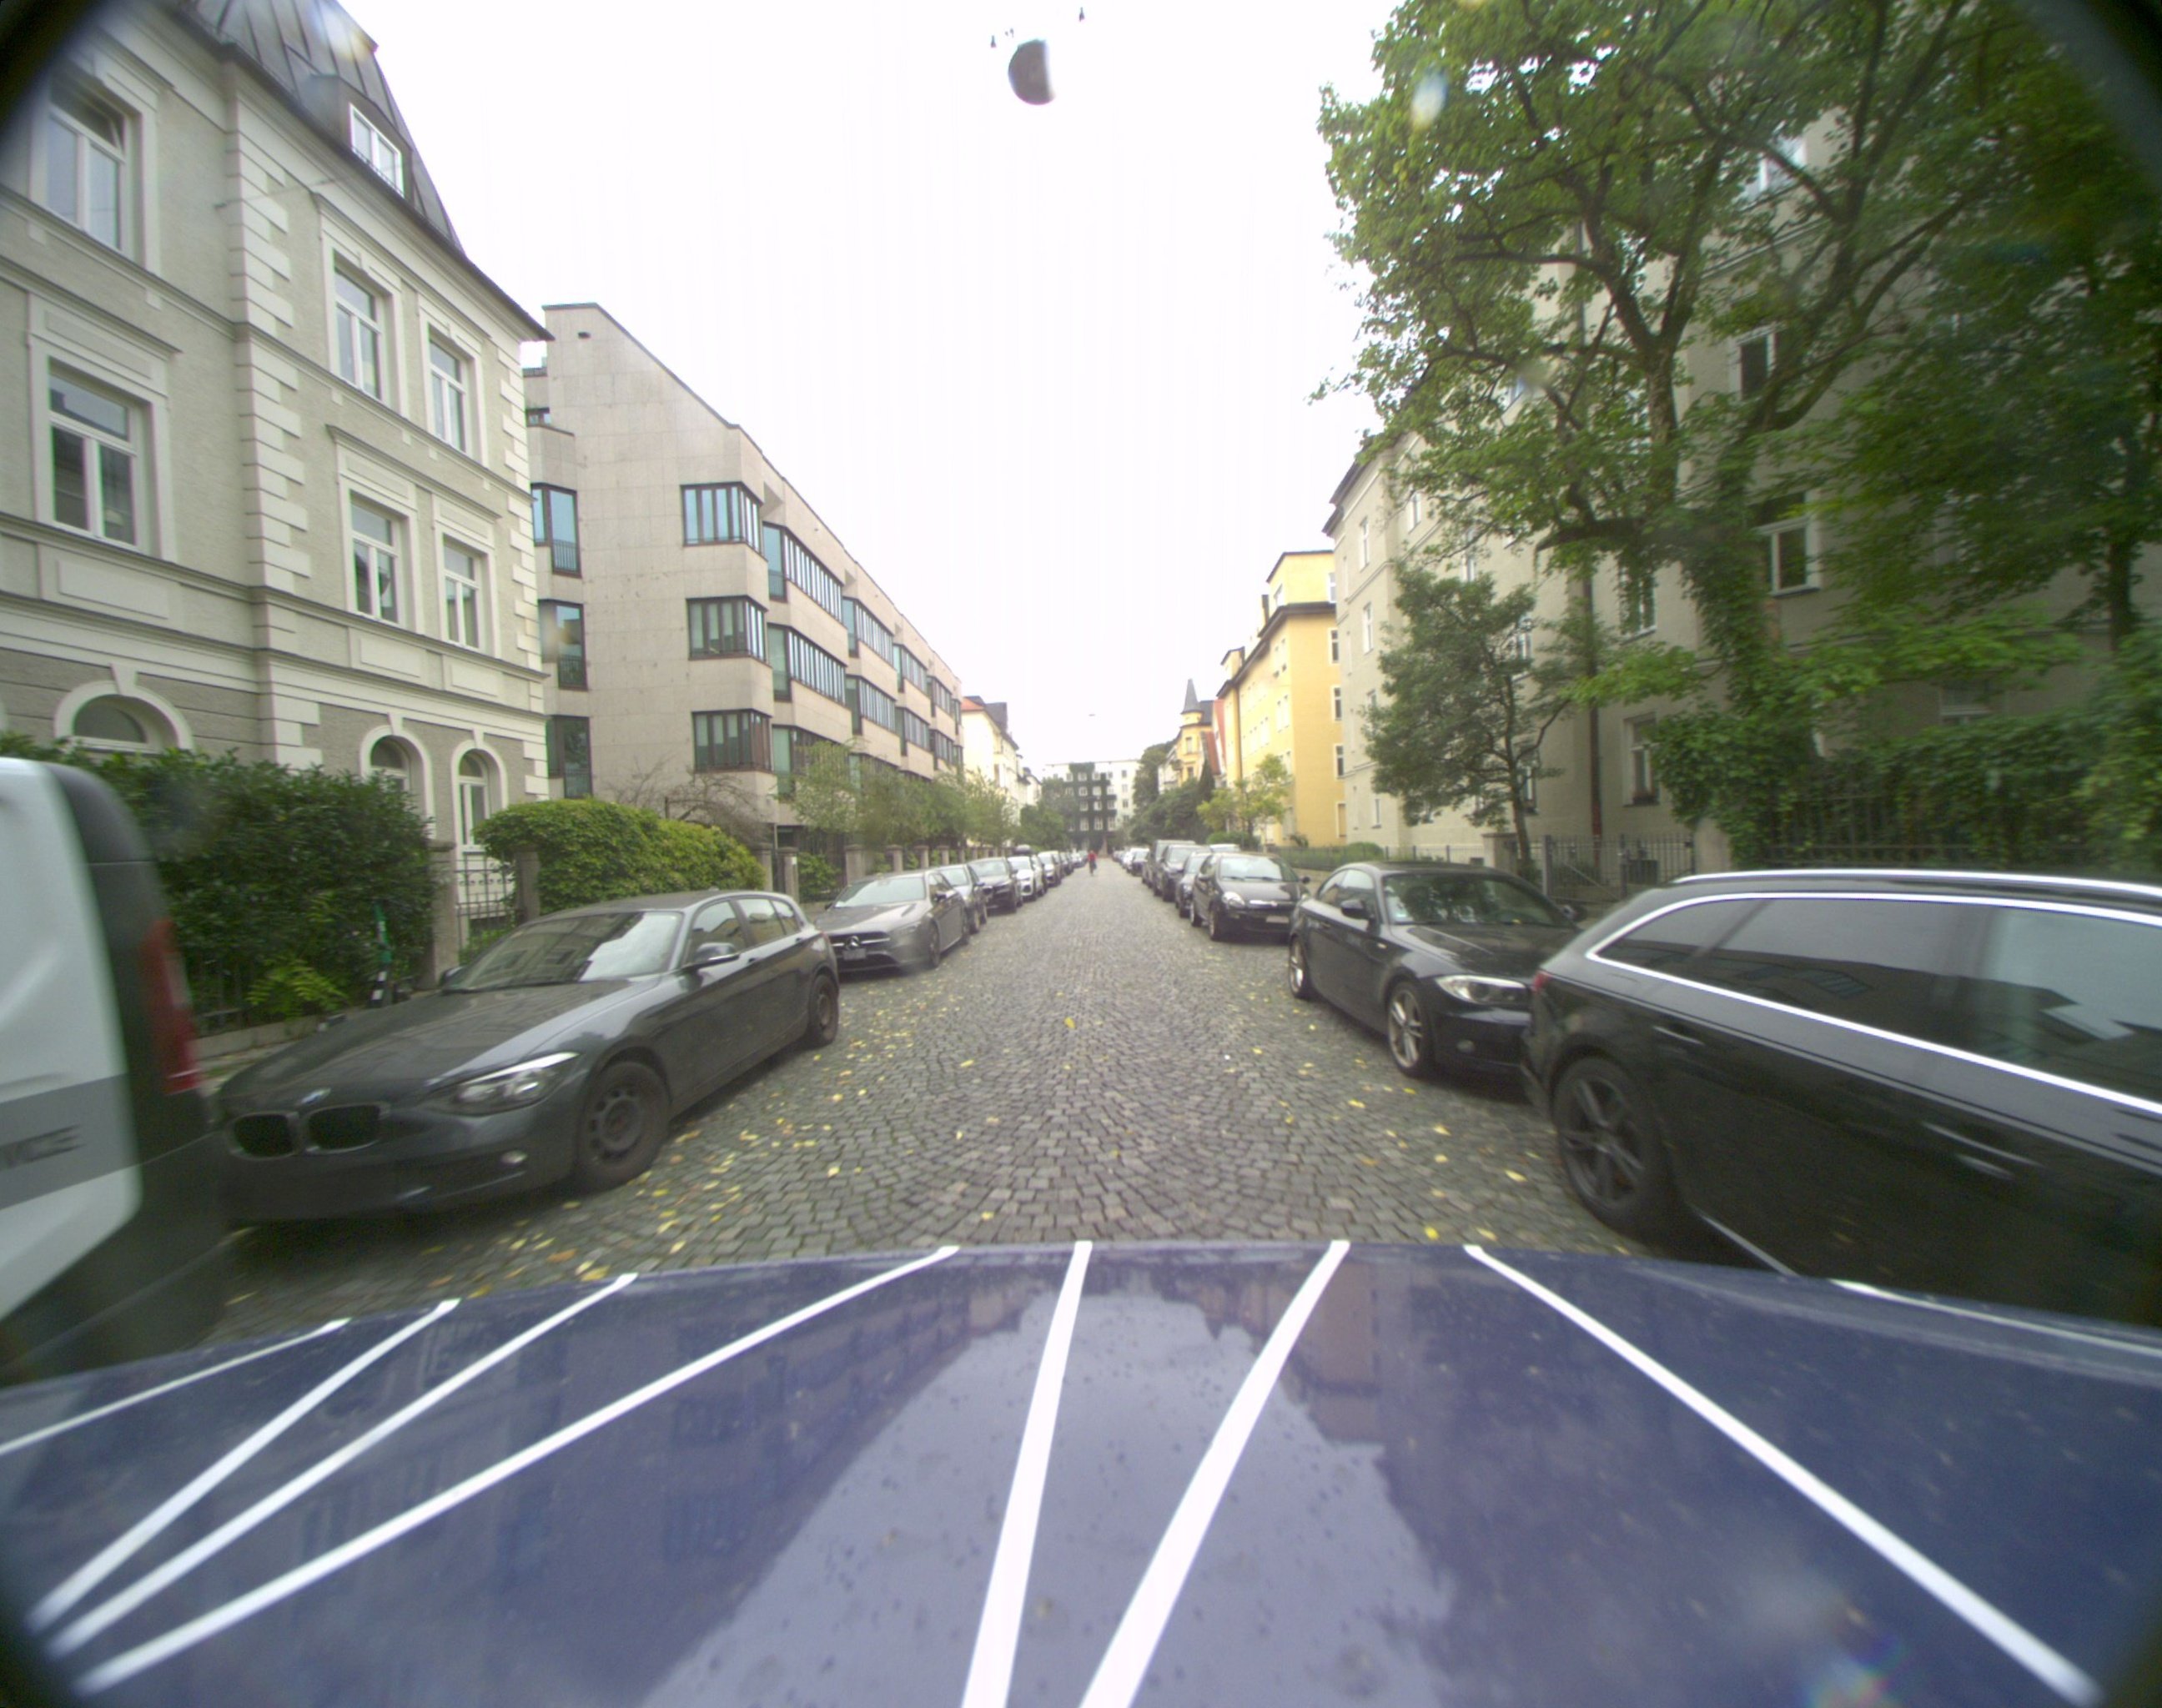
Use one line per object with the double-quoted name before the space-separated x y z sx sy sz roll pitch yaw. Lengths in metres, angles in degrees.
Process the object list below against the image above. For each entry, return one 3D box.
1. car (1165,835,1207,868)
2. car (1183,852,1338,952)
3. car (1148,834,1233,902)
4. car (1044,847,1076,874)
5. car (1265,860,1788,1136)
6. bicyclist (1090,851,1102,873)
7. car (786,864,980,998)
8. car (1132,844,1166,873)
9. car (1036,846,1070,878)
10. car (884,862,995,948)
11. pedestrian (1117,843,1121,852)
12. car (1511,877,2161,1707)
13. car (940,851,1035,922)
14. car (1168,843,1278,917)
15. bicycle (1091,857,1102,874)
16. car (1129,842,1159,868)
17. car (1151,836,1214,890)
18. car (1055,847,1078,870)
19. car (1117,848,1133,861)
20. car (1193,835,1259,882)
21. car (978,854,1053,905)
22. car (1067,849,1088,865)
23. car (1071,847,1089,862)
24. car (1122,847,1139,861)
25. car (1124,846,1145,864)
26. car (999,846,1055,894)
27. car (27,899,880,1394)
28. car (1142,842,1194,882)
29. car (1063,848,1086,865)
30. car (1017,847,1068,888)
"car" 6.805 -0.163 49.778 1.999 1.920 5.330 -4 1 1
"car" 2.988 0.714 13.537 1.666 1.436 4.170 -2 1 -1
"car" 3.303 0.372 23.911 1.998 1.906 5.177 0 1 1
"car" -1.434 0.427 54.567 1.865 1.692 4.813 -6 1 2
"car" 2.956 0.803 6.374 1.787 1.409 4.496 0 1 1
"bicyclist" 0.983 0.504 49.317 0.648 1.351 0.656 -4 1 1
"car" -2.829 1.023 11.892 1.717 1.464 4.268 -6 1 1
"car" 4.286 0.249 48.628 1.921 1.725 4.755 1 1 3
"car" -1.765 0.463 49.133 1.793 1.786 4.509 -7 1 1
"car" -2.936 0.995 16.591 1.698 1.432 4.060 -6 1 -2
"pedestrian" 8.349 -1.529 168.273 0.701 1.905 0.863 -5 2 5
"car" 2.834 0.836 1.265 1.891 1.409 4.407 0 1 3
"car" -2.580 0.836 22.191 1.877 1.660 4.657 -5 1 2
"car" 3.306 0.532 18.690 1.983 1.552 5.017 -1 1 3
"bicycle" 1.020 0.713 49.468 0.636 1.021 1.955 -4 1 1
"car" 4.532 0.030 55.185 2.011 1.798 5.174 -1 1 3
"car" 3.813 0.286 29.281 1.878 1.906 4.827 -1 1 1
"car" -1.163 0.351 63.135 1.622 1.741 3.887 -6 1 1
"car" 5.868 0.049 102.077 1.744 1.577 4.191 -2 1 -1
"car" 6.227 0.150 33.218 1.949 1.725 4.657 -6 1 1
"car" -2.230 0.829 27.161 1.877 1.481 4.617 -5 0 4
"car" -0.330 0.280 84.213 1.998 1.543 4.986 -5 1 3
"car" -0.118 0.048 89.357 1.898 1.644 4.294 -4 1 2
"car" 5.427 -0.043 84.273 1.819 1.447 4.913 0 1 3
"car" 4.782 0.038 68.556 1.718 1.553 4.390 -1 1 2
"car" -2.193 0.608 32.293 1.878 1.725 4.747 -6 1 0
"car" -3.045 1.289 5.166 1.841 1.481 4.421 -6 1 3
"car" 3.980 0.336 35.497 1.870 1.725 4.403 0 1 -1
"car" -0.617 0.256 78.993 1.998 1.543 5.014 -5 1 2
"car" -1.819 0.607 37.584 1.877 1.725 4.892 -5 1 3
